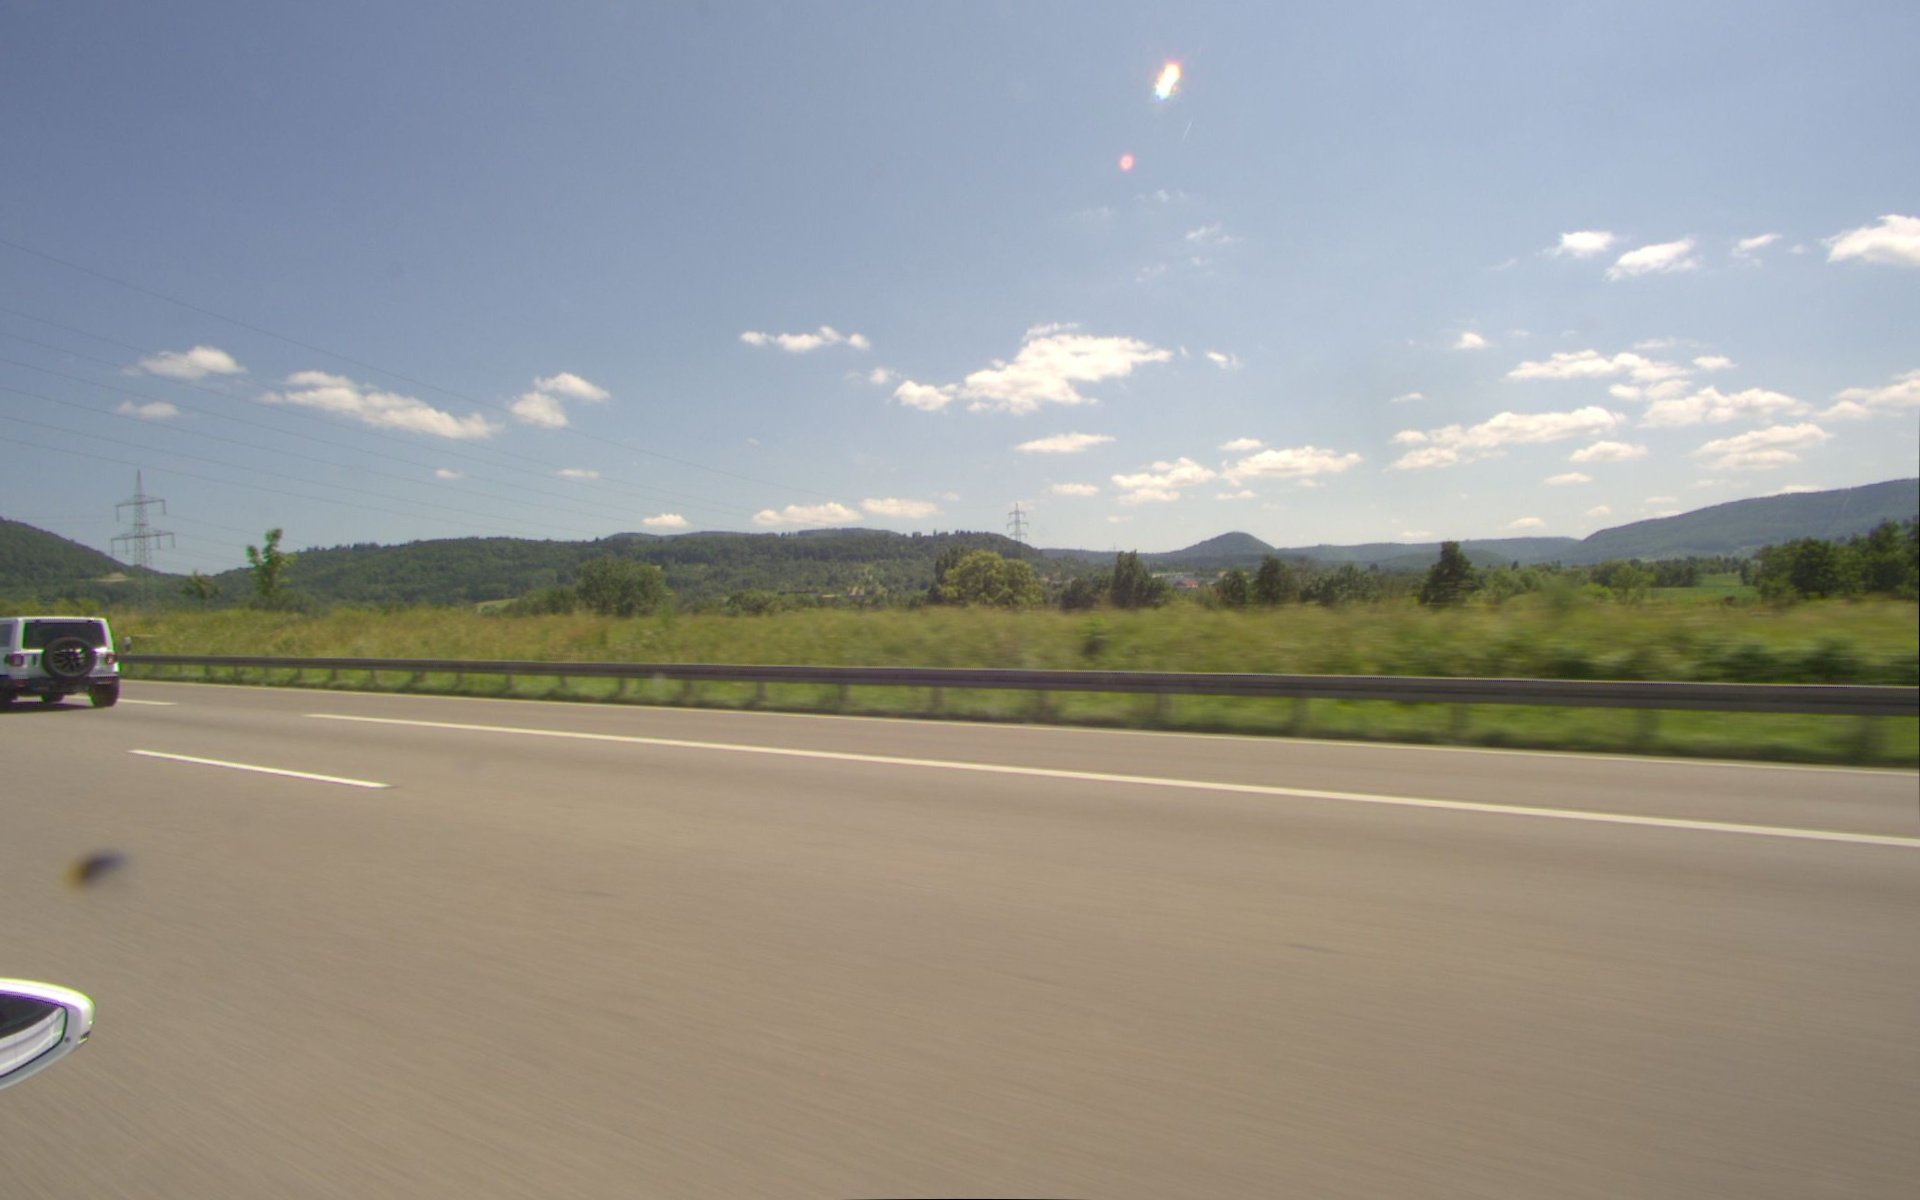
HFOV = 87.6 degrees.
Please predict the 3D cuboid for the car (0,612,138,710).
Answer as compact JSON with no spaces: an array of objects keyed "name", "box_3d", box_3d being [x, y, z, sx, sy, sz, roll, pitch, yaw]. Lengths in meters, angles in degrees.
[{"name":"car","box_3d":[-19.191,1.192,20.806,4.188,1.828,2.031,-1,-1,31]}]
